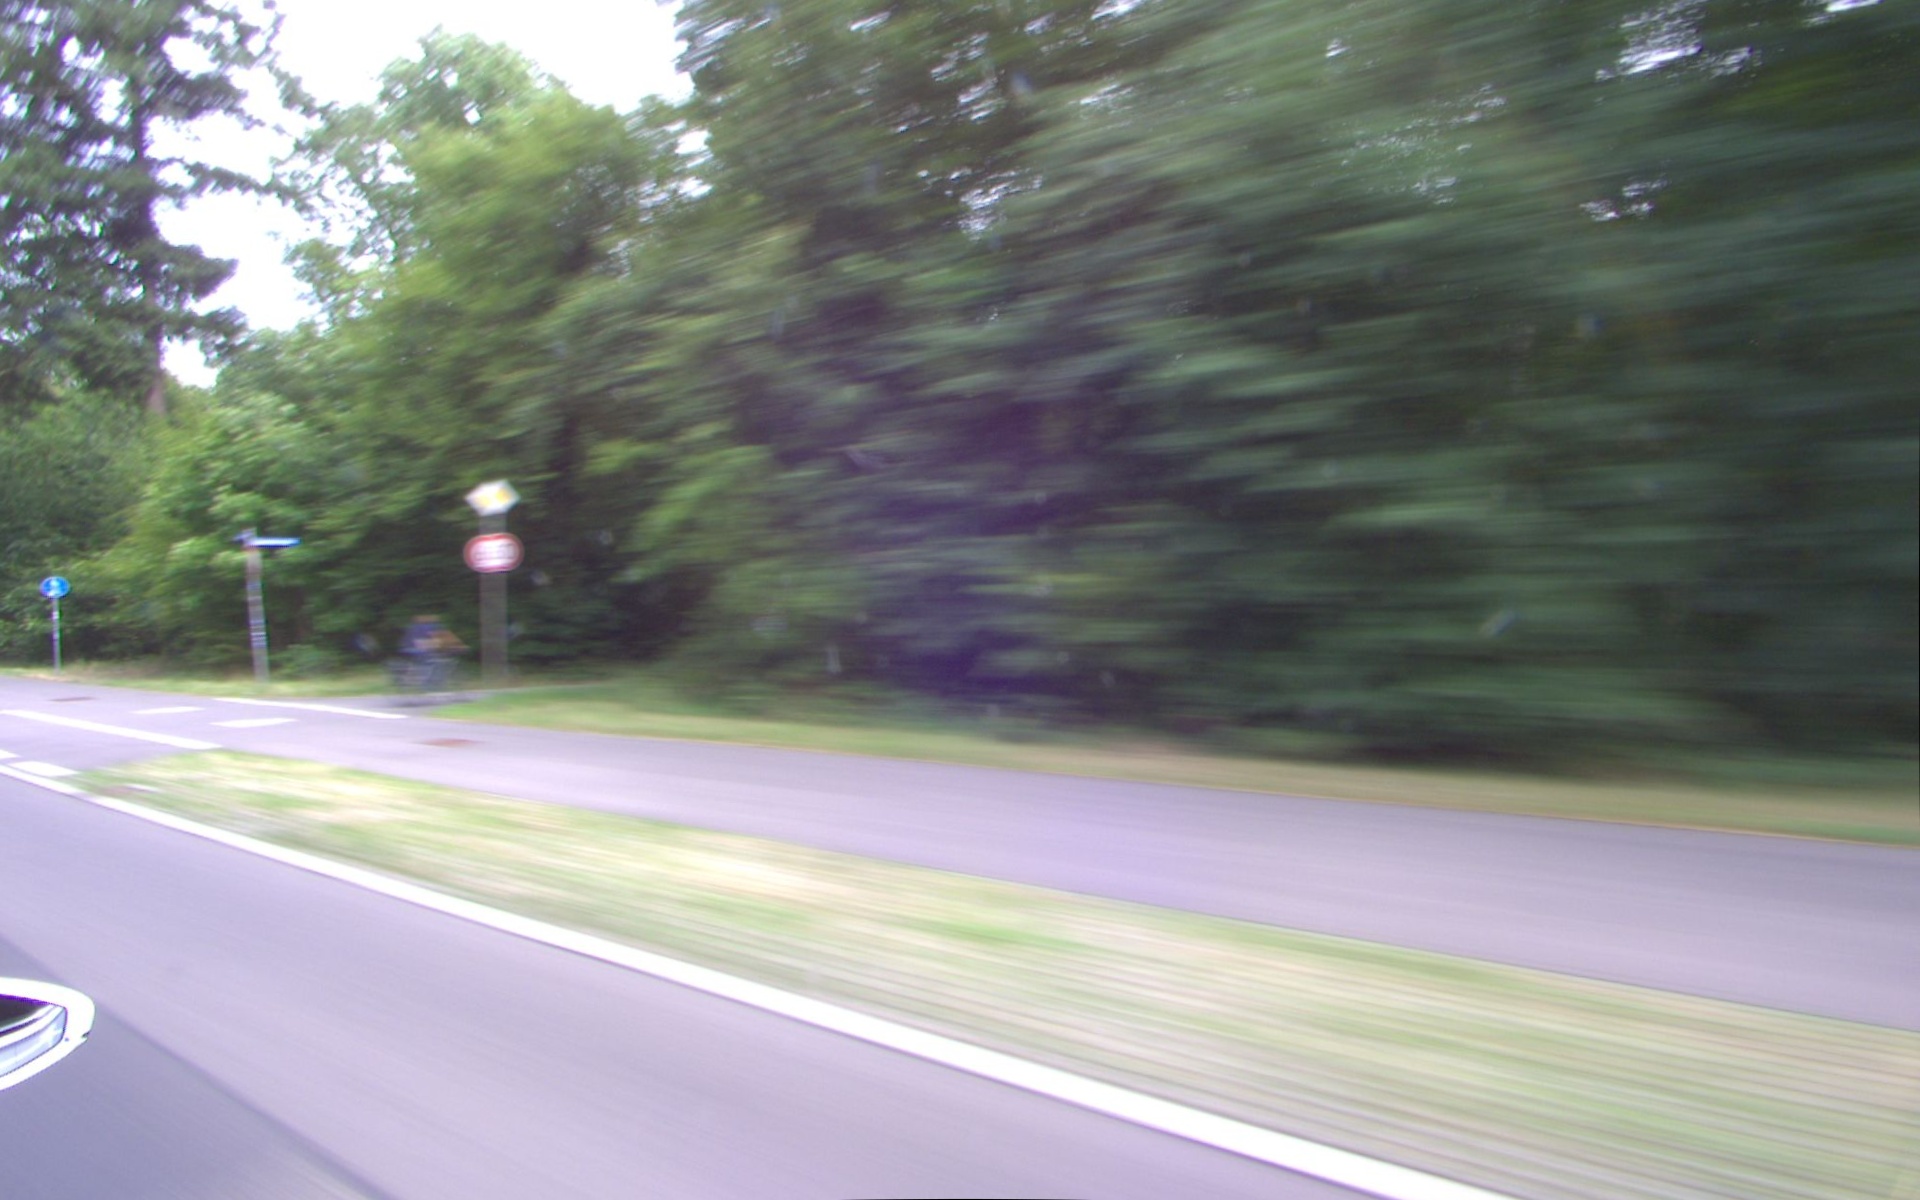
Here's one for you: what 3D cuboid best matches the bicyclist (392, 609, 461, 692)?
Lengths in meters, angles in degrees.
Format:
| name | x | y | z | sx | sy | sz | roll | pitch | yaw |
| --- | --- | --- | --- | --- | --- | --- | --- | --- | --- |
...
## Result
| name | x | y | z | sx | sy | sz | roll | pitch | yaw |
| --- | --- | --- | --- | --- | --- | --- | --- | --- | --- |
| bicyclist | -9.860 | 0.926 | 18.517 | 0.701 | 1.489 | 0.896 | -1 | -1 | 34 |

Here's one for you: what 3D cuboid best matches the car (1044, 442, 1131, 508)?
| name | x | y | z | sx | sy | sz | roll | pitch | yaw |
| --- | --- | --- | --- | --- | --- | --- | --- | --- | --- |
| car | 5.131 | -4.895 | 39.836 | 1.972 | 1.816 | 3.982 | -2 | -4 | 32 |

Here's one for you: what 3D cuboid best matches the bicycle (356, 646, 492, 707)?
| name | x | y | z | sx | sy | sz | roll | pitch | yaw |
| --- | --- | --- | --- | --- | --- | --- | --- | --- | --- |
| bicycle | -9.863 | 1.380 | 18.527 | 0.701 | 1.007 | 2.170 | -1 | -1 | 32 |
